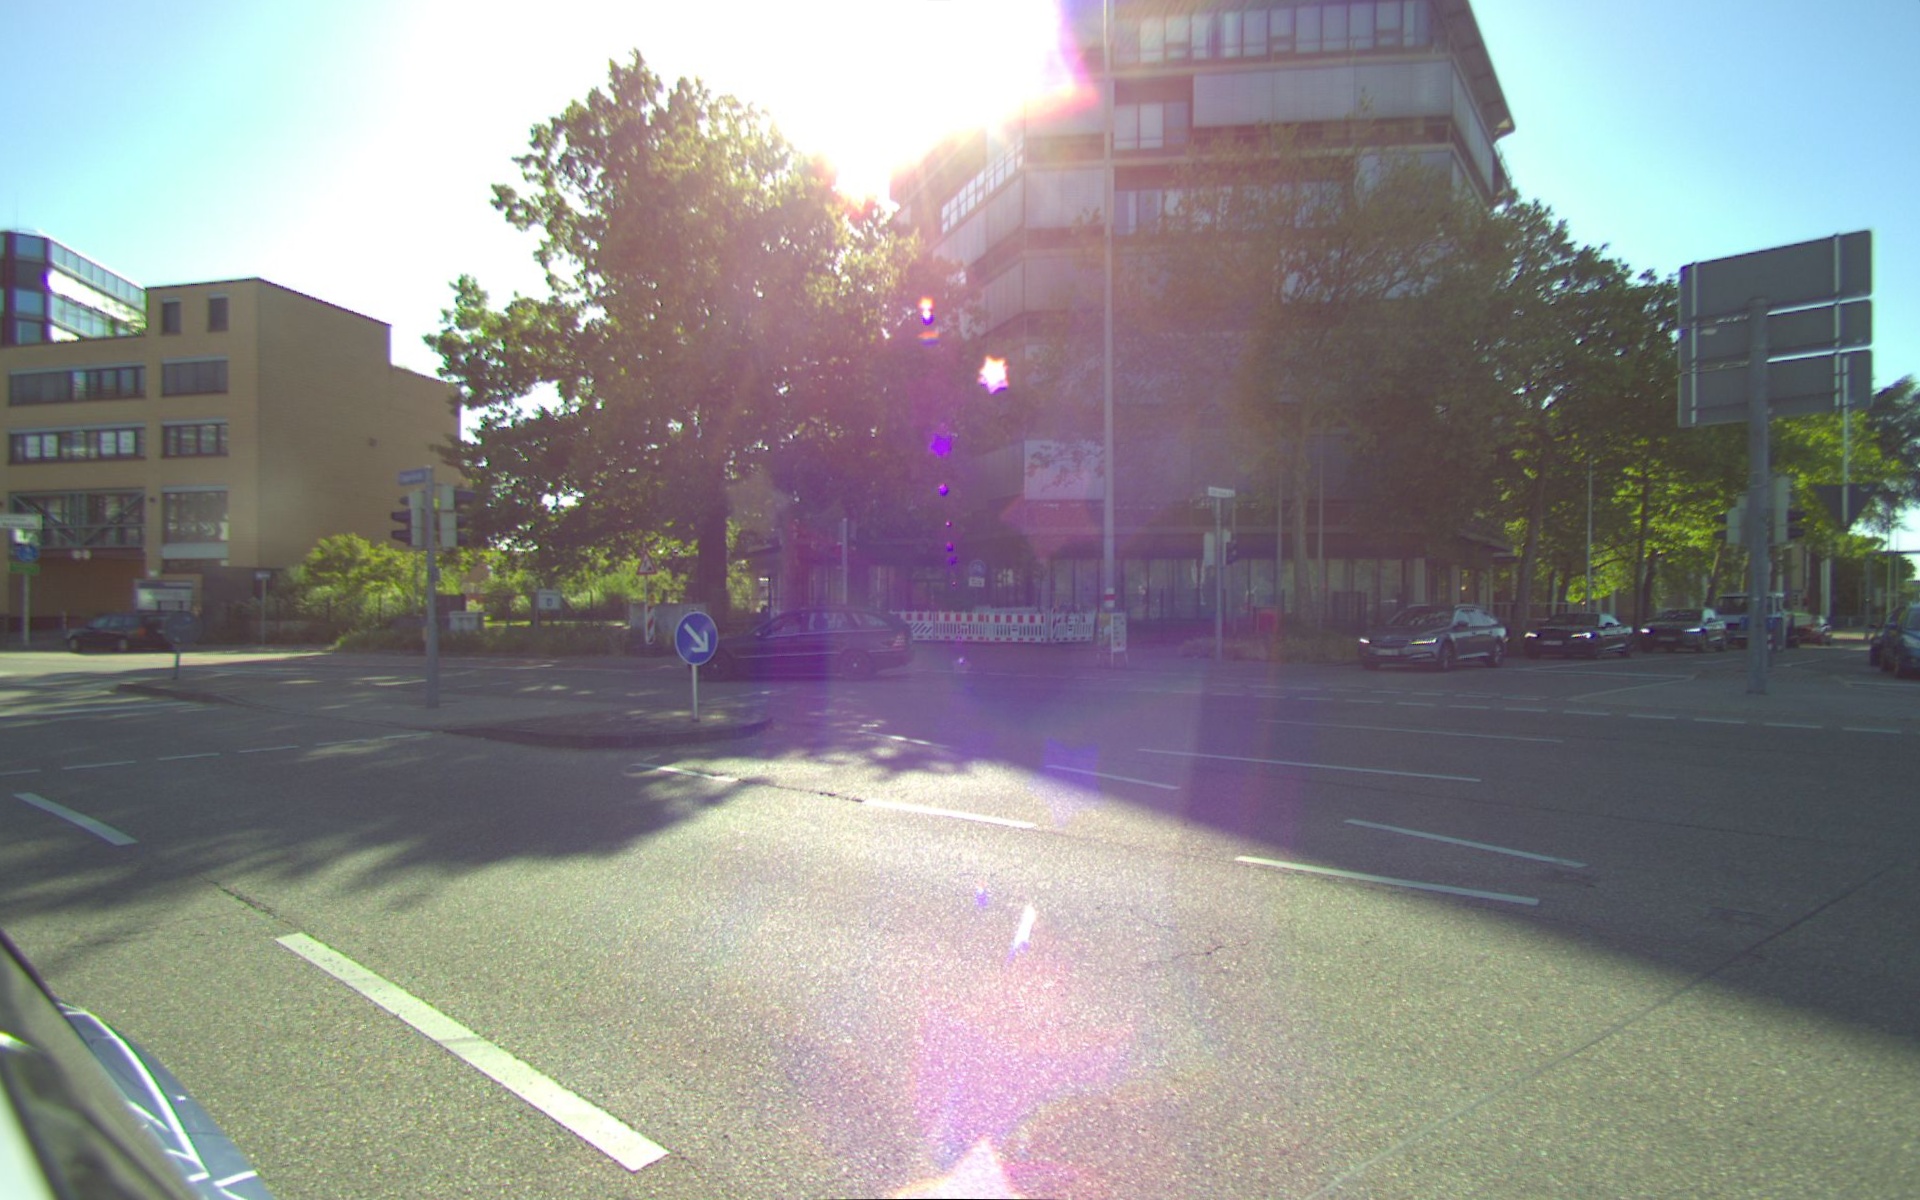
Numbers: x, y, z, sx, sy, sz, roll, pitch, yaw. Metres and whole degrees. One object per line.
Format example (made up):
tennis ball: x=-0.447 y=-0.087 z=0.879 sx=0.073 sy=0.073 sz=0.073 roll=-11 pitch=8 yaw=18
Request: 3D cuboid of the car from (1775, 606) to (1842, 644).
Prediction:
car: x=40.590 y=1.159 z=48.370 sx=4.131 sy=1.713 sz=1.818 roll=0 pitch=-1 yaw=-41

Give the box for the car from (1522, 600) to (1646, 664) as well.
car: x=18.178 y=0.868 z=29.439 sx=4.130 sy=1.713 sz=1.818 roll=0 pitch=0 yaw=-39

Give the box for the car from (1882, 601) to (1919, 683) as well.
car: x=20.114 y=0.795 z=20.461 sx=1.950 sy=1.552 sz=4.398 roll=-1 pitch=-1 yaw=40

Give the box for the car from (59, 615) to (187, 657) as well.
car: x=-32.032 y=1.386 z=38.734 sx=4.340 sy=1.520 sz=1.650 roll=-1 pitch=-3 yaw=17

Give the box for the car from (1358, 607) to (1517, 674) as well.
car: x=10.919 y=0.898 z=22.997 sx=4.442 sy=1.368 sz=1.881 roll=2 pitch=-2 yaw=-45

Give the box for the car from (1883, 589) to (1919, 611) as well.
car: x=76.779 y=0.023 z=82.267 sx=1.809 sy=1.713 sz=4.152 roll=-1 pitch=0 yaw=31

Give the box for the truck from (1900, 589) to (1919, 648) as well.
truck: x=69.262 y=1.212 z=71.648 sx=3.853 sy=3.825 sz=9.213 roll=-1 pitch=0 yaw=42

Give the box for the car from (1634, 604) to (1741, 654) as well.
car: x=25.846 y=0.987 z=35.908 sx=4.436 sy=1.657 sz=1.884 roll=0 pitch=-1 yaw=-37

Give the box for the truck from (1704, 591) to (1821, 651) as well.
truck: x=34.434 y=0.847 z=43.319 sx=7.393 sy=2.378 sz=2.168 roll=0 pitch=-1 yaw=-37

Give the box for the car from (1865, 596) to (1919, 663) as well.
car: x=23.648 y=0.679 z=24.857 sx=1.950 sy=1.552 sz=4.398 roll=-1 pitch=-1 yaw=40

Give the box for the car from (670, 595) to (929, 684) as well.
car: x=-3.033 y=0.746 z=19.770 sx=4.722 sy=1.633 sz=1.950 roll=0 pitch=0 yaw=3
